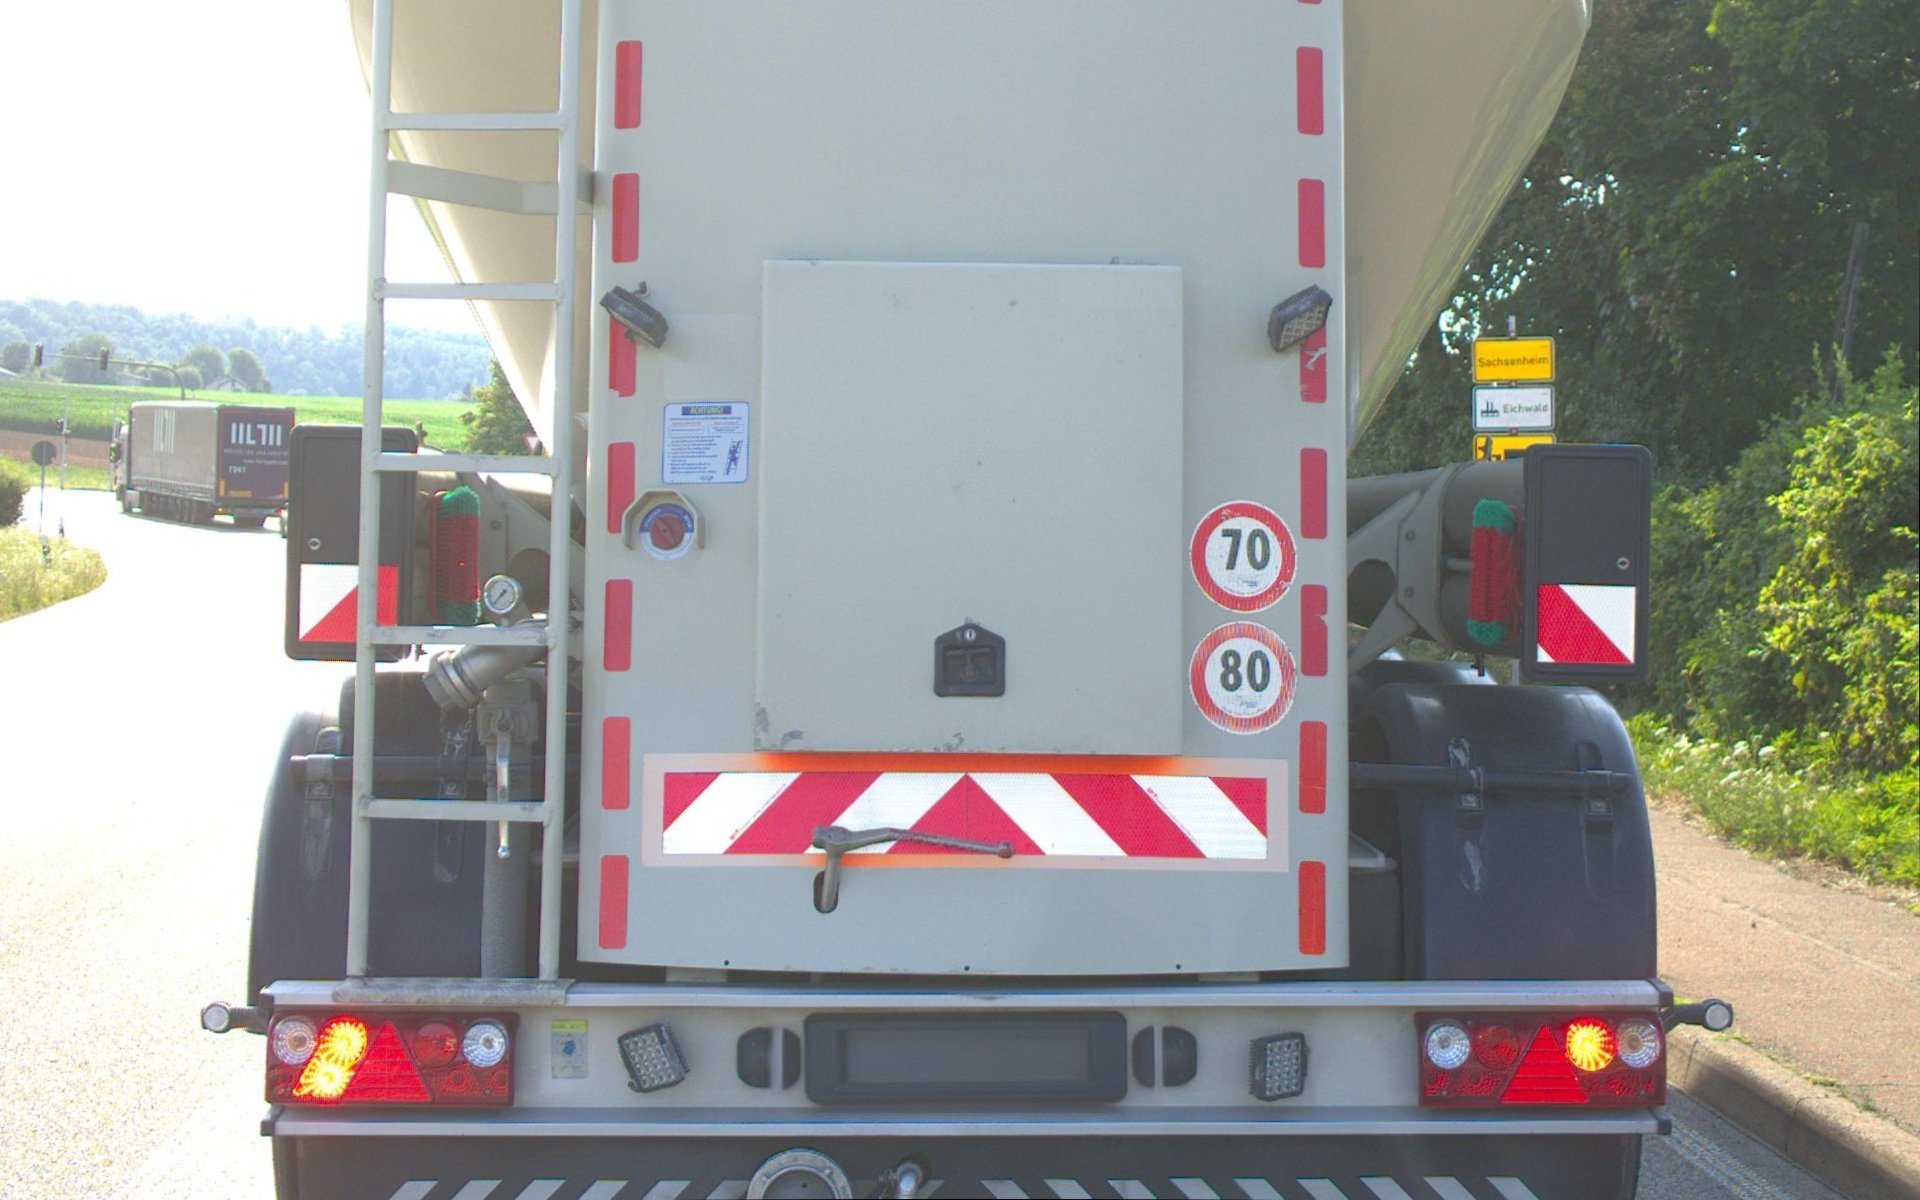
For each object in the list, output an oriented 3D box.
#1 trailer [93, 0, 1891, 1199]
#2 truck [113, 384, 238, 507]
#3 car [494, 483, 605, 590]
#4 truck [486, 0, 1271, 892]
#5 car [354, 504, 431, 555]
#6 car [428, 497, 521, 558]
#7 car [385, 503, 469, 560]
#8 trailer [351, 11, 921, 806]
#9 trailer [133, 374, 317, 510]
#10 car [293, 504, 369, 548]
[{"bbox_3d":[-0.185,-0.856,10.543,2.909,3.992,9.931,1,1,-3],"label":"trailer"},{"bbox_3d":[-29.080,-5.684,127.270,3.375,4.335,5.707,2,1,-24],"label":"truck"},{"bbox_3d":[-8.045,-1.252,67.089,1.861,2.007,3.720,0,1,-11],"label":"car"},{"bbox_3d":[-0.422,-0.950,14.926,2.909,3.992,4.060,1,1,-4],"label":"truck"},{"bbox_3d":[-15.811,-1.972,95.738,1.580,1.336,3.427,2,1,-18],"label":"car"},{"bbox_3d":[-11.514,-1.727,81.468,1.580,1.336,3.427,2,1,-18],"label":"car"},{"bbox_3d":[-13.610,-1.758,87.677,1.580,1.336,3.427,2,1,-18],"label":"car"},{"bbox_3d":[-1.881,-1.220,26.140,2.955,4.300,14.176,2,1,0],"label":"trailer"},{"bbox_3d":[-25.706,-5.422,119.499,3.375,4.335,14.298,2,1,-24],"label":"trailer"},{"bbox_3d":[-18.672,-2.208,101.996,1.769,1.201,3.427,2,1,-18],"label":"car"}]
